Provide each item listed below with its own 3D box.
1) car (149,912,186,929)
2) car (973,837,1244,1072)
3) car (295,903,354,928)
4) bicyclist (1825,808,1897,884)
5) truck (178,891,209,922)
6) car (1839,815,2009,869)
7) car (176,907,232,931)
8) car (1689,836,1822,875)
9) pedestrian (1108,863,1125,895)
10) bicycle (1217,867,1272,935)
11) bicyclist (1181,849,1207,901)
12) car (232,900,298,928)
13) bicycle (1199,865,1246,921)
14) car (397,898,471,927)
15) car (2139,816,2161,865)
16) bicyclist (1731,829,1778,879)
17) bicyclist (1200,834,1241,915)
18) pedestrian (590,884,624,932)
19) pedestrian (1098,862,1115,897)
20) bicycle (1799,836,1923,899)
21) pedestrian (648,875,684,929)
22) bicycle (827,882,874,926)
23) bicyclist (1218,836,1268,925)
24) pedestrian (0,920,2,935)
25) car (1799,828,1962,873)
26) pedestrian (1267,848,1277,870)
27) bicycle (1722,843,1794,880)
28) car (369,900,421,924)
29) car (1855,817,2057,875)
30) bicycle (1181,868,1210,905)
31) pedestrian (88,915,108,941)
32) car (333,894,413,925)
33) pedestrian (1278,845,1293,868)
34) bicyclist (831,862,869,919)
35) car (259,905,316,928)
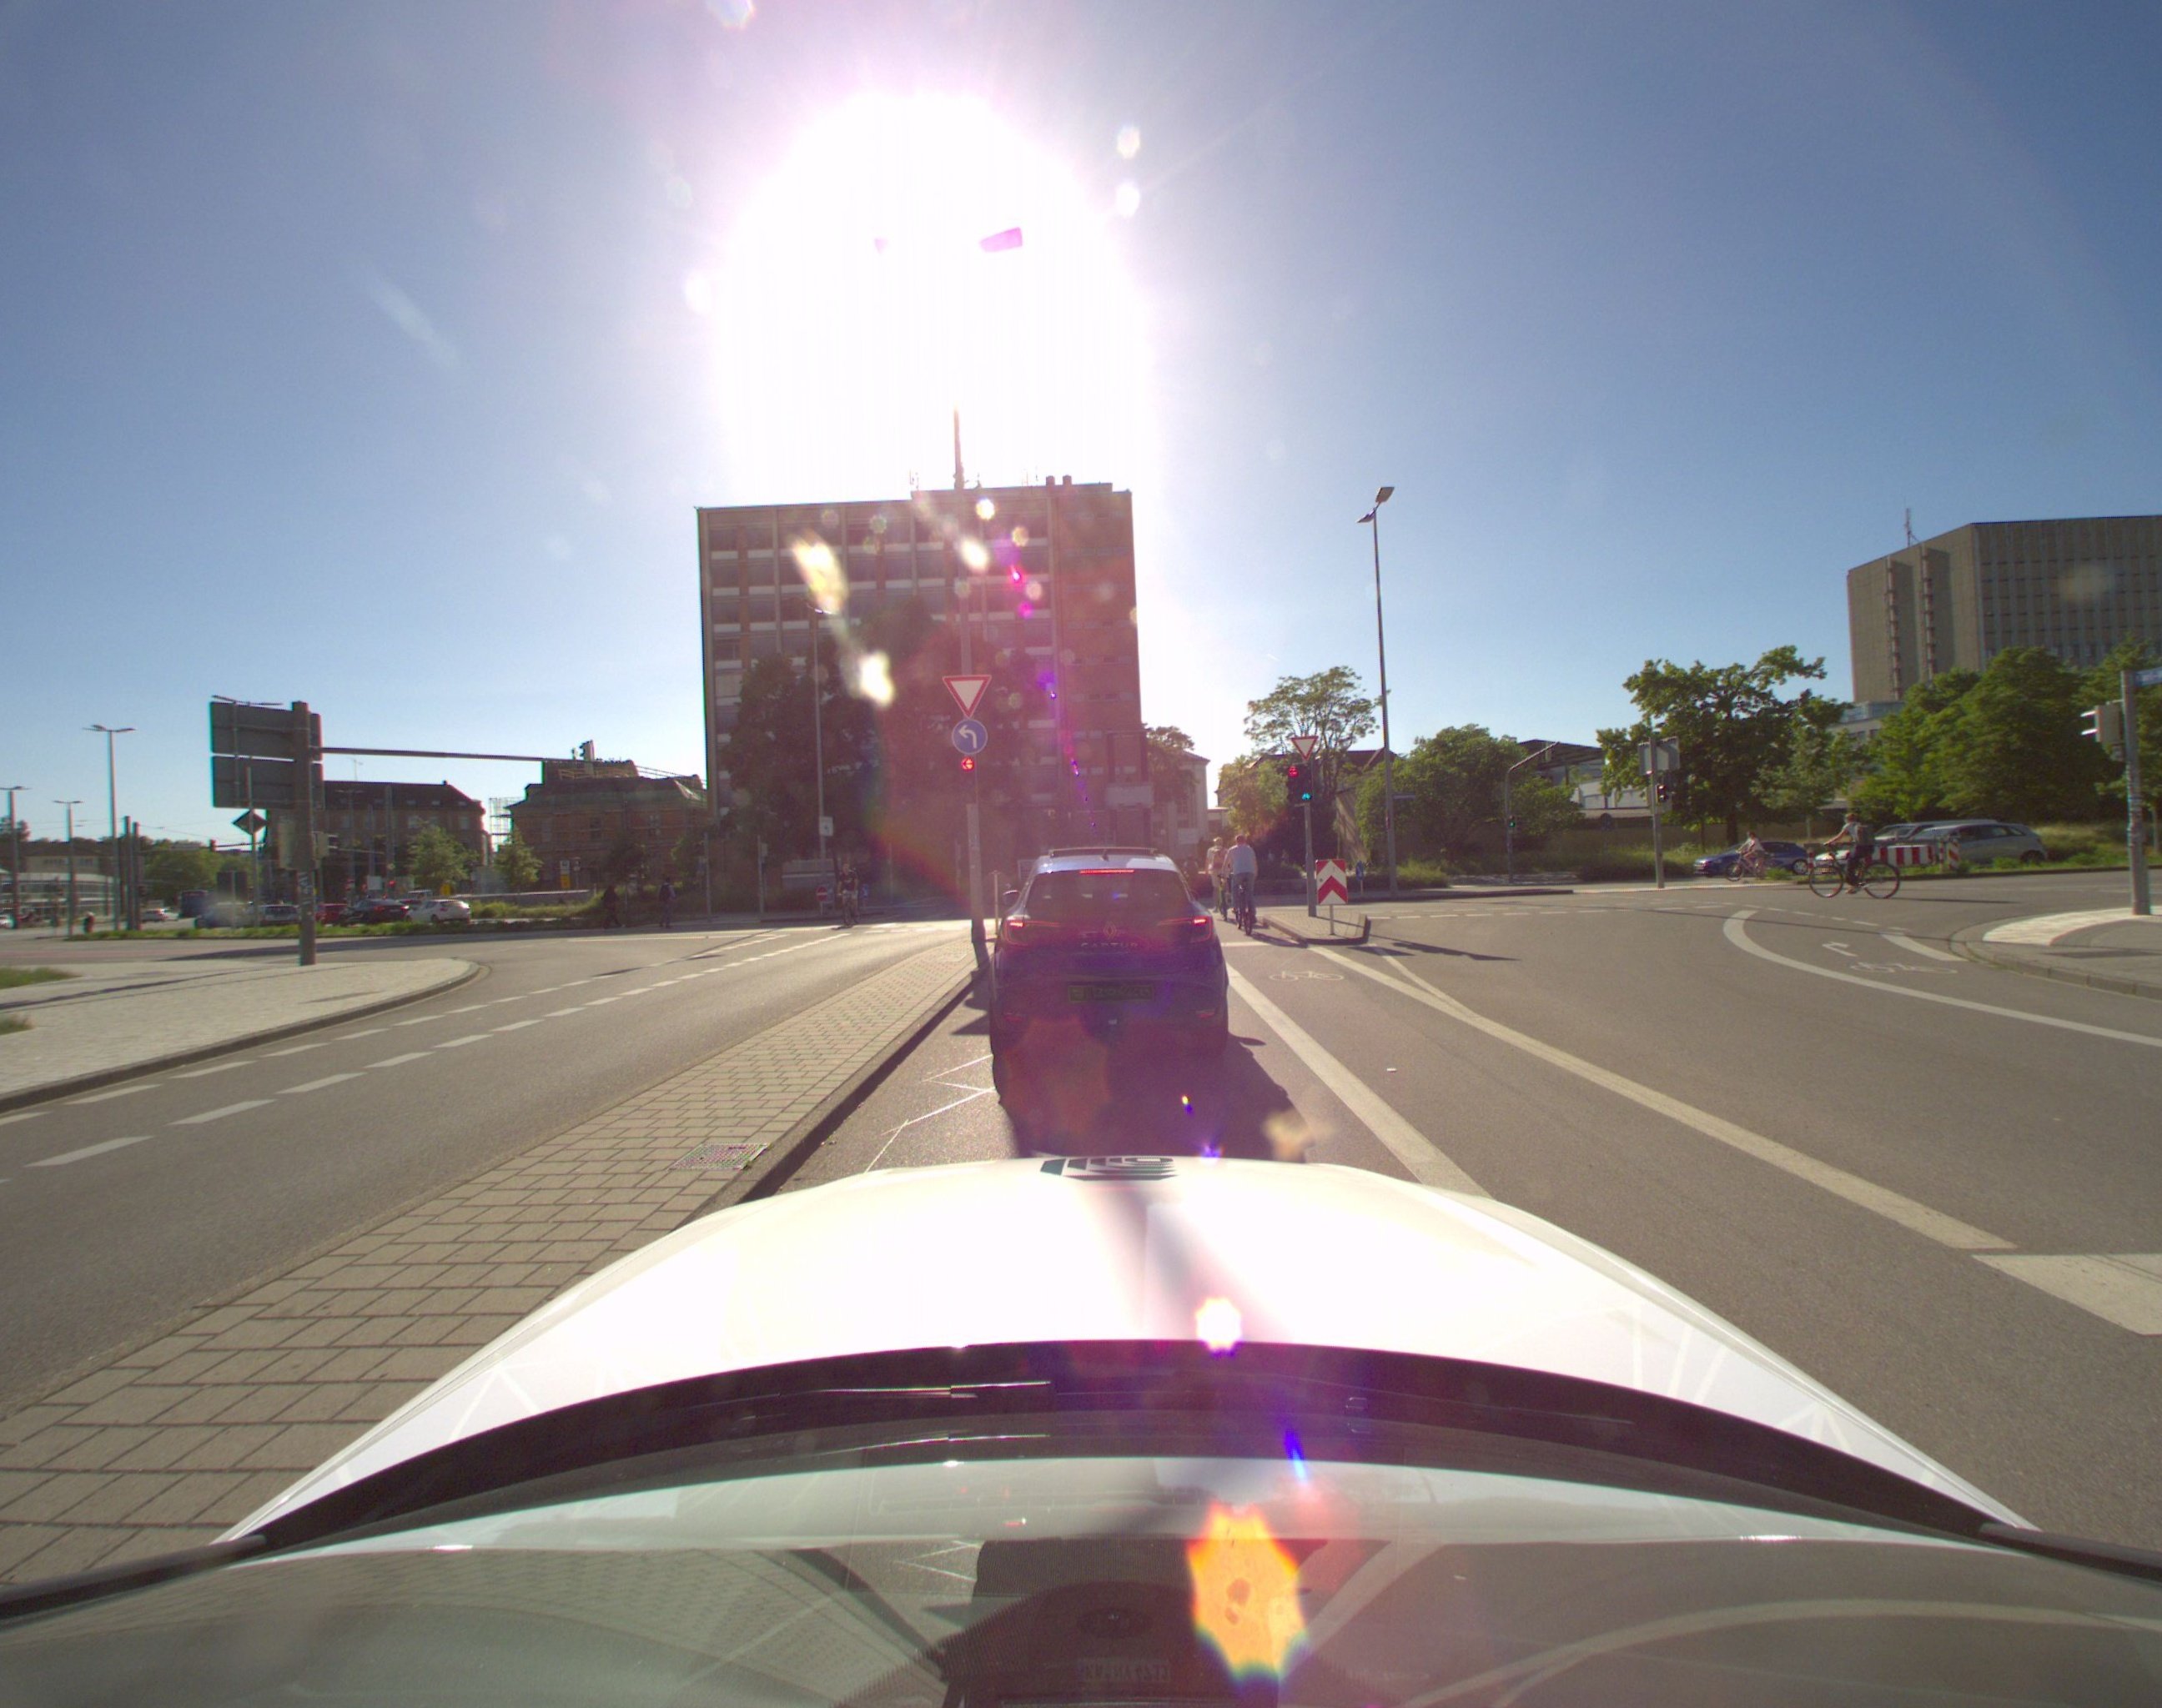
[{"bbox_3d":[-95.190,6.917,84.906,1.794,1.544,3.601,0,-1,-35],"label":"car"},{"bbox_3d":[0.247,0.703,7.526,1.870,1.617,3.799,0,0,2],"label":"car"},{"bbox_3d":[-48.004,3.893,51.695,3.674,1.443,1.687,-3,-3,29],"label":"car"},{"bbox_3d":[15.565,-0.155,16.266,0.639,1.444,0.776,-3,1,-1],"label":"bicyclist"},{"bbox_3d":[-113.359,6.689,104.024,5.159,3.675,2.618,-1,-1,42],"label":"truck"},{"bbox_3d":[34.823,-0.451,33.761,4.718,1.953,1.942,-2,-2,5],"label":"car"},{"bbox_3d":[-55.300,4.097,51.362,3.859,1.443,1.741,-3,-3,33],"label":"car"},{"bbox_3d":[28.161,0.076,34.086,3.967,1.442,1.707,-2,-2,5],"label":"car"},{"bbox_3d":[1.980,1.386,45.048,0.727,1.782,0.735,-1,-1,19],"label":"pedestrian"},{"bbox_3d":[3.073,0.863,15.486,0.713,1.165,1.871,-2,0,3],"label":"bicycle"},{"bbox_3d":[3.914,0.711,28.187,0.717,1.735,0.978,-2,-1,1],"label":"bicyclist"},{"bbox_3d":[-48.897,3.595,48.783,3.750,1.442,1.741,-3,-1,28],"label":"car"},{"bbox_3d":[3.195,0.848,18.547,0.743,1.165,1.871,-2,0,2],"label":"bicycle"},{"bbox_3d":[-36.475,3.301,45.891,3.690,1.436,1.706,-3,-1,24],"label":"car"},{"bbox_3d":[36.875,-0.552,25.423,4.685,1.554,1.986,-2,-2,5],"label":"car"},{"bbox_3d":[24.012,-0.005,29.046,0.970,1.685,0.747,-4,-1,3],"label":"bicyclist"},{"bbox_3d":[3.173,0.452,18.576,0.717,1.763,0.978,-2,-1,1],"label":"bicyclist"},{"bbox_3d":[-16.271,1.845,27.946,0.710,1.612,0.686,-3,-1,23],"label":"pedestrian"},{"bbox_3d":[1.372,1.369,43.968,0.727,1.816,0.735,-1,-1,19],"label":"pedestrian"},{"bbox_3d":[15.591,0.240,16.347,0.639,1.165,1.870,-3,1,-1],"label":"bicycle"},{"bbox_3d":[-14.523,1.661,28.534,0.753,1.833,1.093,-2,-2,-6],"label":"pedestrian"},{"bbox_3d":[-6.832,1.459,24.191,0.743,1.165,1.871,-4,-1,2],"label":"bicycle"},{"bbox_3d":[3.064,0.485,15.522,0.717,1.617,0.978,-2,-1,1],"label":"bicyclist"},{"bbox_3d":[-102.267,6.969,76.511,0.689,1.408,0.865,0,-1,0],"label":"pedestrian"},{"bbox_3d":[30.333,-0.113,31.046,3.962,1.469,2.005,-3,-1,10],"label":"car"},{"bbox_3d":[14.504,0.352,61.792,0.670,1.643,0.739,-1,-1,18],"label":"pedestrian"},{"bbox_3d":[24.125,0.264,29.039,1.856,1.165,0.749,-4,-1,3],"label":"bicycle"},{"bbox_3d":[-50.403,4.281,59.828,3.578,1.618,1.894,-4,-3,31],"label":"car"},{"bbox_3d":[28.021,-0.209,26.202,4.281,1.625,1.792,-2,-2,5],"label":"car"},{"bbox_3d":[3.927,1.102,28.113,0.743,1.165,1.871,-2,0,2],"label":"bicycle"},{"bbox_3d":[-62.777,4.751,52.005,0.565,1.611,0.573,0,-1,1],"label":"pedestrian"},{"bbox_3d":[-42.634,3.339,49.031,4.324,1.624,2.002,-3,-1,24],"label":"car"},{"bbox_3d":[14.570,0.204,58.041,0.739,1.643,0.670,0,-1,-34],"label":"pedestrian"},{"bbox_3d":[-6.855,1.072,24.176,0.717,1.621,0.978,-4,-1,1],"label":"bicyclist"},{"bbox_3d":[-53.607,4.222,55.010,3.750,1.443,1.741,-3,-3,29],"label":"car"}]
